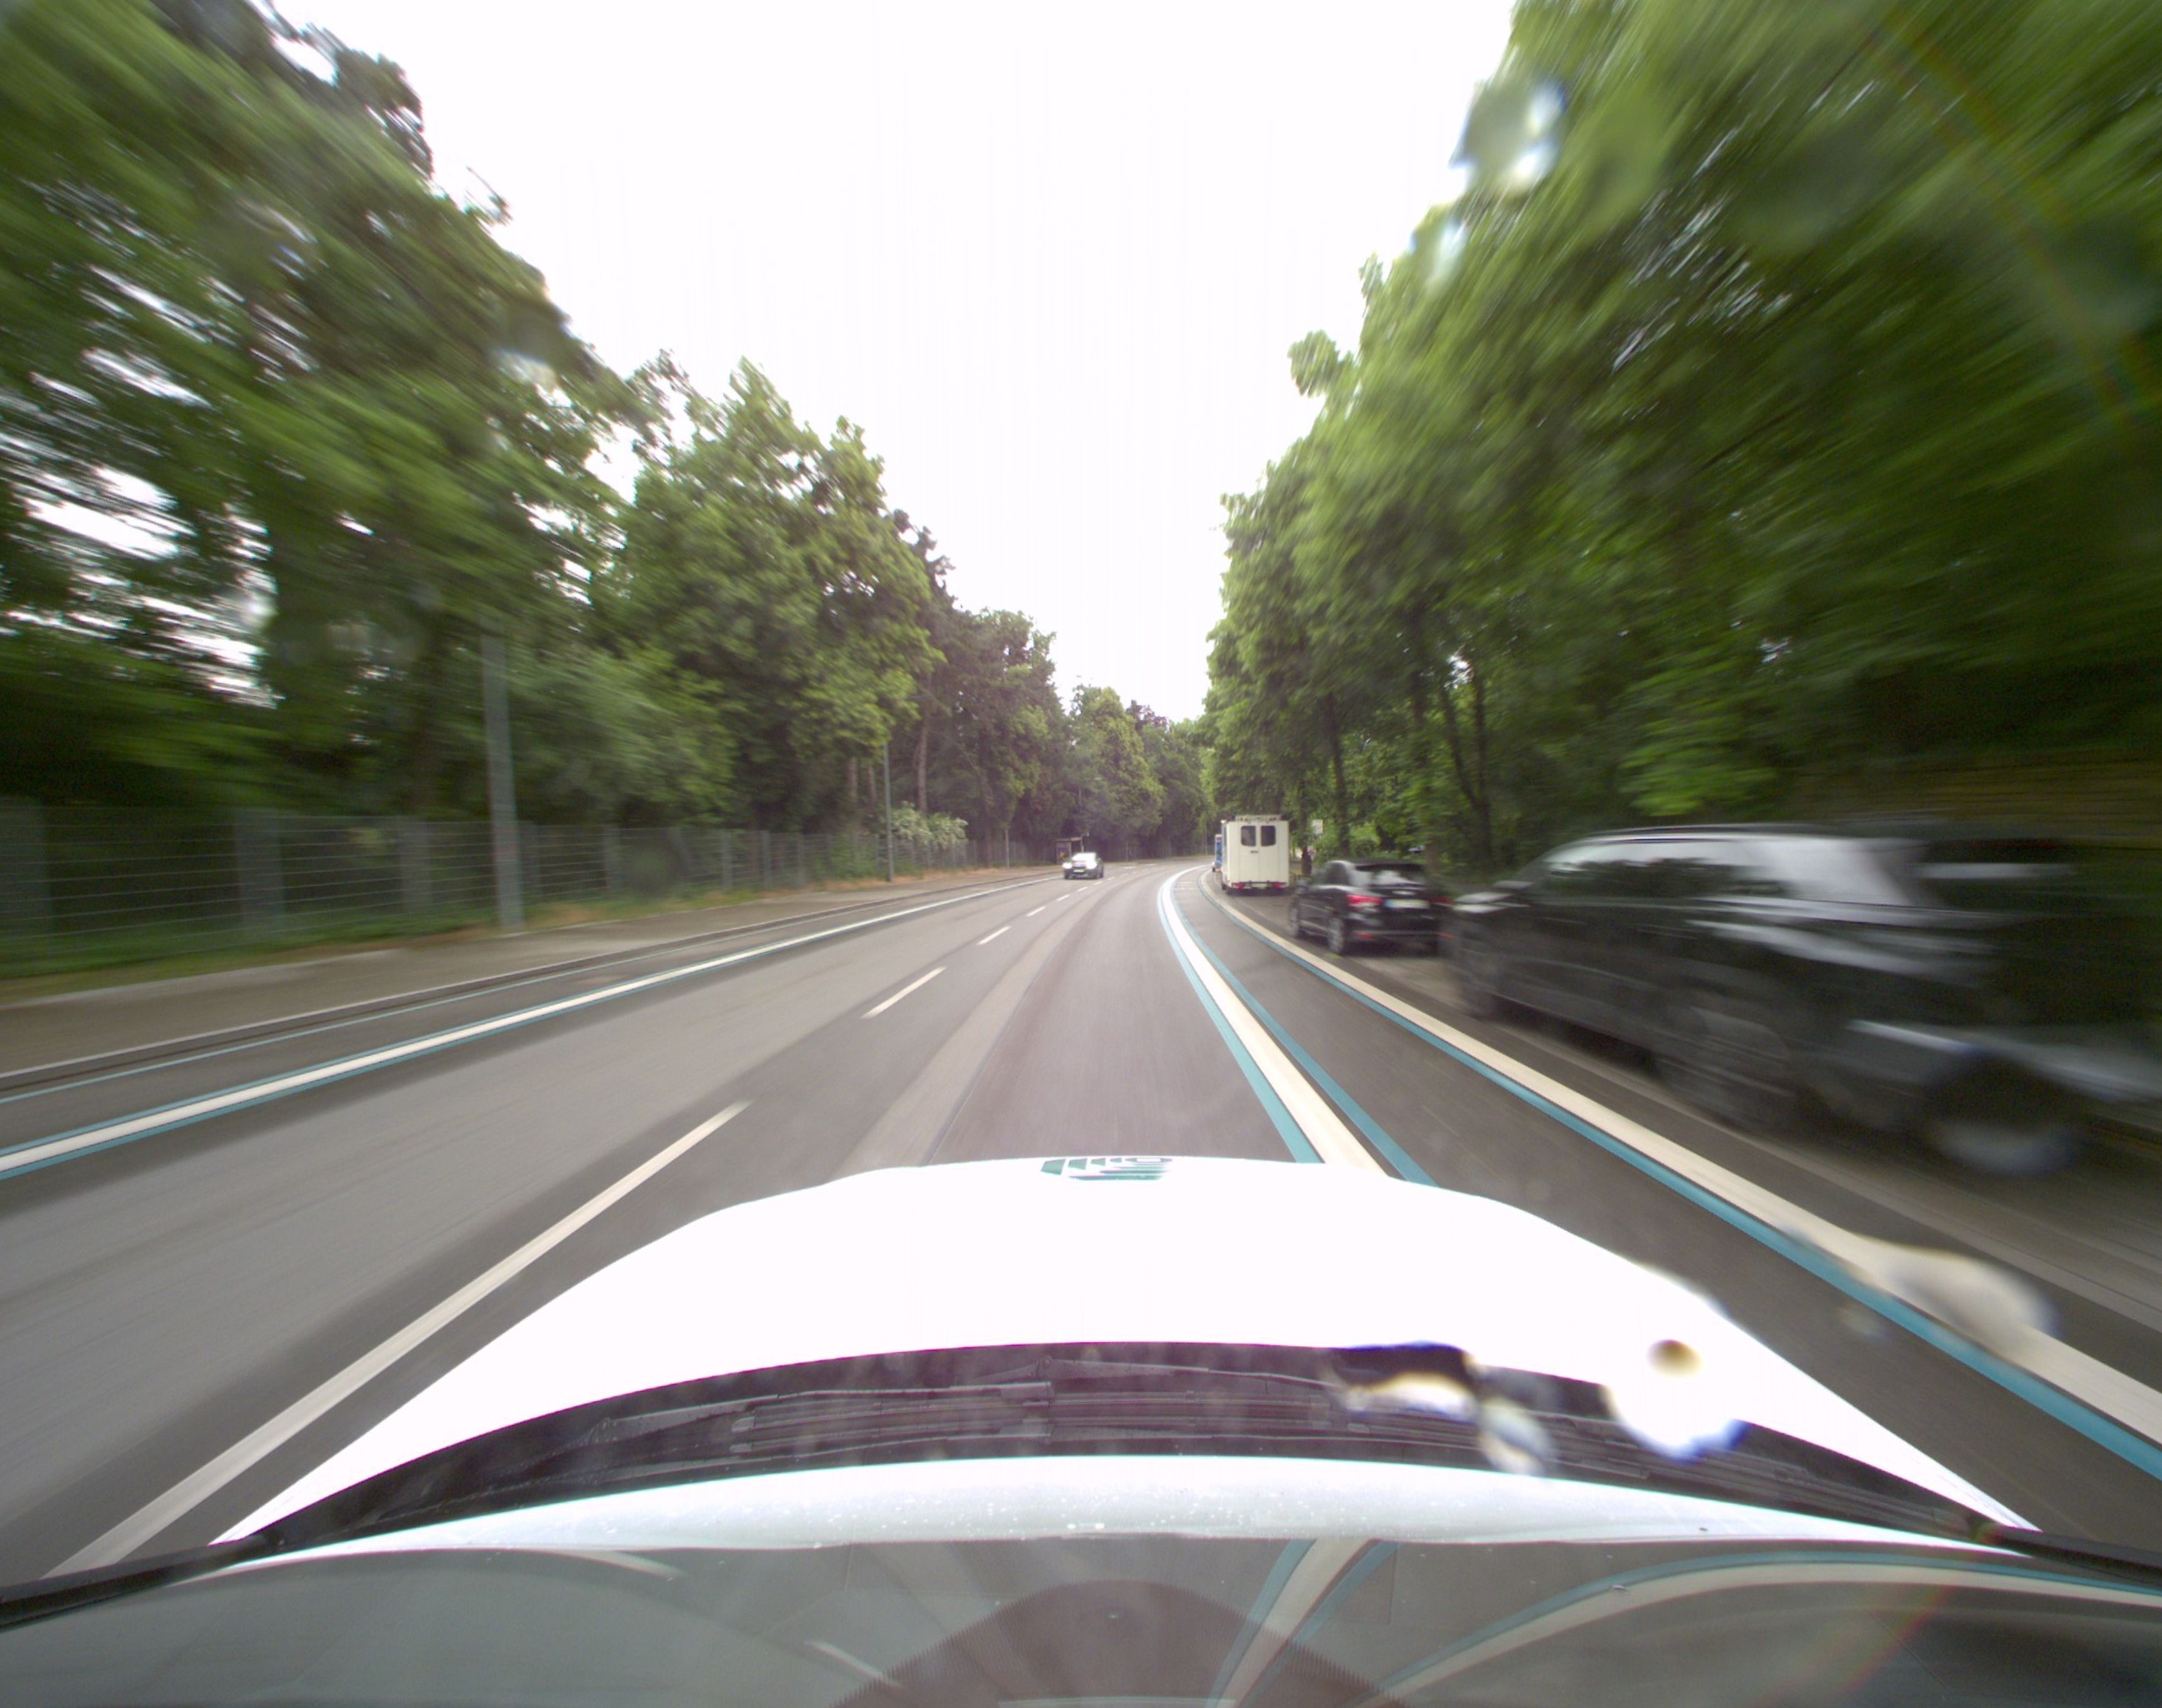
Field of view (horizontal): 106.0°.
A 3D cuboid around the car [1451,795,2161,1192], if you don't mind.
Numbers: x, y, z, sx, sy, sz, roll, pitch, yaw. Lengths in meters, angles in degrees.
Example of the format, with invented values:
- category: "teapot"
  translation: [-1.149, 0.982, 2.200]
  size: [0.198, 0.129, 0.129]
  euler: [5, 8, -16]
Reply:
- category: "car"
  translation: [4.487, 0.615, 5.588]
  size: [1.986, 1.645, 4.348]
  euler: [1, -1, 1]

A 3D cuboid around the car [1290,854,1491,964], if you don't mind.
- category: "car"
  translation: [4.459, 0.722, 12.407]
  size: [1.671, 1.376, 4.002]
  euler: [-1, -1, 2]

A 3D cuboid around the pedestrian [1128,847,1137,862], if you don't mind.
- category: "pedestrian"
  translation: [5.969, 0.057, 94.552]
  size: [0.881, 1.733, 1.149]
  euler: [0, 0, 11]

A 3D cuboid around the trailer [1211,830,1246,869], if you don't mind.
- category: "trailer"
  translation: [10.652, -0.313, 58.767]
  size: [2.301, 2.672, 5.392]
  euler: [0, 0, 11]

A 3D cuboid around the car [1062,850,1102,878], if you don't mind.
- category: "car"
  translation: [0.097, 0.511, 45.459]
  size: [1.751, 1.437, 4.158]
  euler: [-1, 0, 6]

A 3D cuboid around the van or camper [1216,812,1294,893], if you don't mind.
- category: "van or camper"
  translation: [6.250, -0.078, 29.983]
  size: [2.304, 2.664, 6.396]
  euler: [0, 0, 8]
